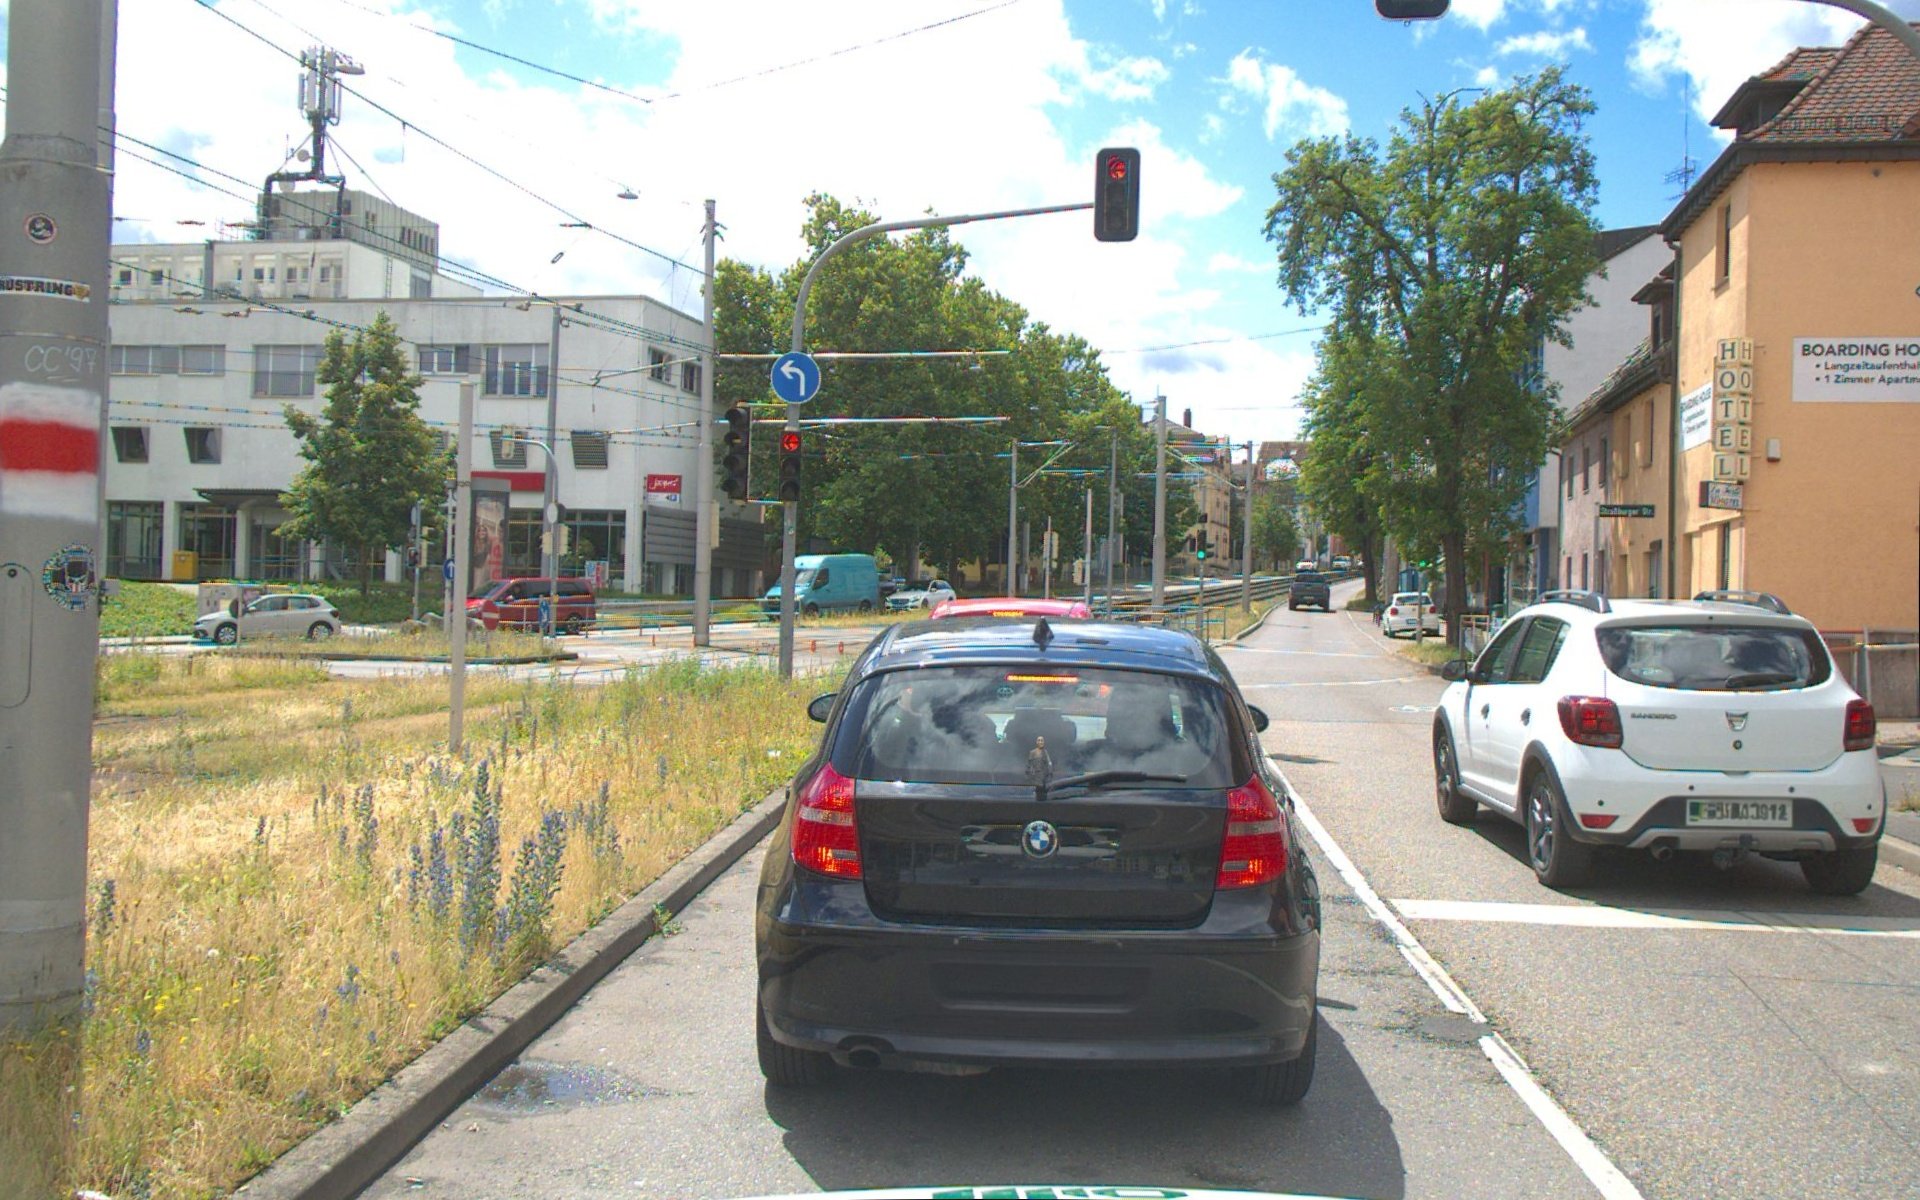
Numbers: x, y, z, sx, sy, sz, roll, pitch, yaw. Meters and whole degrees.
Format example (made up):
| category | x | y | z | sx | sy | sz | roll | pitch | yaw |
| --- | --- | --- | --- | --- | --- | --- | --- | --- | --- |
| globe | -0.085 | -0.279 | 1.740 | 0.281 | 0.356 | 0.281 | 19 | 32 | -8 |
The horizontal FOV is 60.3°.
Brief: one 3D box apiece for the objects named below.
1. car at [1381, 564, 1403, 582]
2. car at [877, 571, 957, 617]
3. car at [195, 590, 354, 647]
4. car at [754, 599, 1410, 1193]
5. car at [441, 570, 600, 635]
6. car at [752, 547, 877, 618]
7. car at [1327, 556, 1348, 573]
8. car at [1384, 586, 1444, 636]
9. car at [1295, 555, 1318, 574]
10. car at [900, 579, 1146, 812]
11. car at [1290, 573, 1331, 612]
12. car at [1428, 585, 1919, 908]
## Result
| category | x | y | z | sx | sy | sz | roll | pitch | yaw |
| --- | --- | --- | --- | --- | --- | --- | --- | --- | --- |
| car | 43.249 | -2.681 | 165.630 | 1.951 | 1.691 | 4.002 | -1 | -1 | 17 |
| car | -1.859 | -0.238 | 73.017 | 1.814 | 1.962 | 4.798 | -1 | -1 | 21 |
| car | -20.212 | 0.539 | 48.786 | 4.116 | 1.613 | 1.838 | 0 | -1 | -32 |
| car | 0.217 | 0.763 | 6.195 | 1.667 | 1.477 | 3.997 | 0 | -1 | -3 |
| car | -14.240 | 0.101 | 53.773 | 1.827 | 2.044 | 4.766 | -1 | -1 | 43 |
| car | -5.750 | -0.649 | 66.131 | 2.091 | 2.701 | 5.678 | -1 | -1 | 31 |
| car | 47.435 | -4.459 | 207.817 | 1.952 | 2.049 | 4.000 | -1 | -1 | 21 |
| car | 15.389 | 0.377 | 56.248 | 1.749 | 1.624 | 4.003 | 0 | -1 | 12 |
| car | 39.431 | -4.041 | 188.391 | 1.952 | 2.049 | 4.000 | -1 | -1 | 21 |
| car | 0.594 | 0.642 | 12.725 | 1.590 | 1.499 | 4.002 | 0 | -1 | 6 |
| car | 17.752 | -0.344 | 83.868 | 1.956 | 1.920 | 5.154 | 0 | -1 | 12 |
| car | 4.084 | 0.714 | 10.033 | 1.678 | 1.577 | 3.795 | 0 | 0 | 5 |
